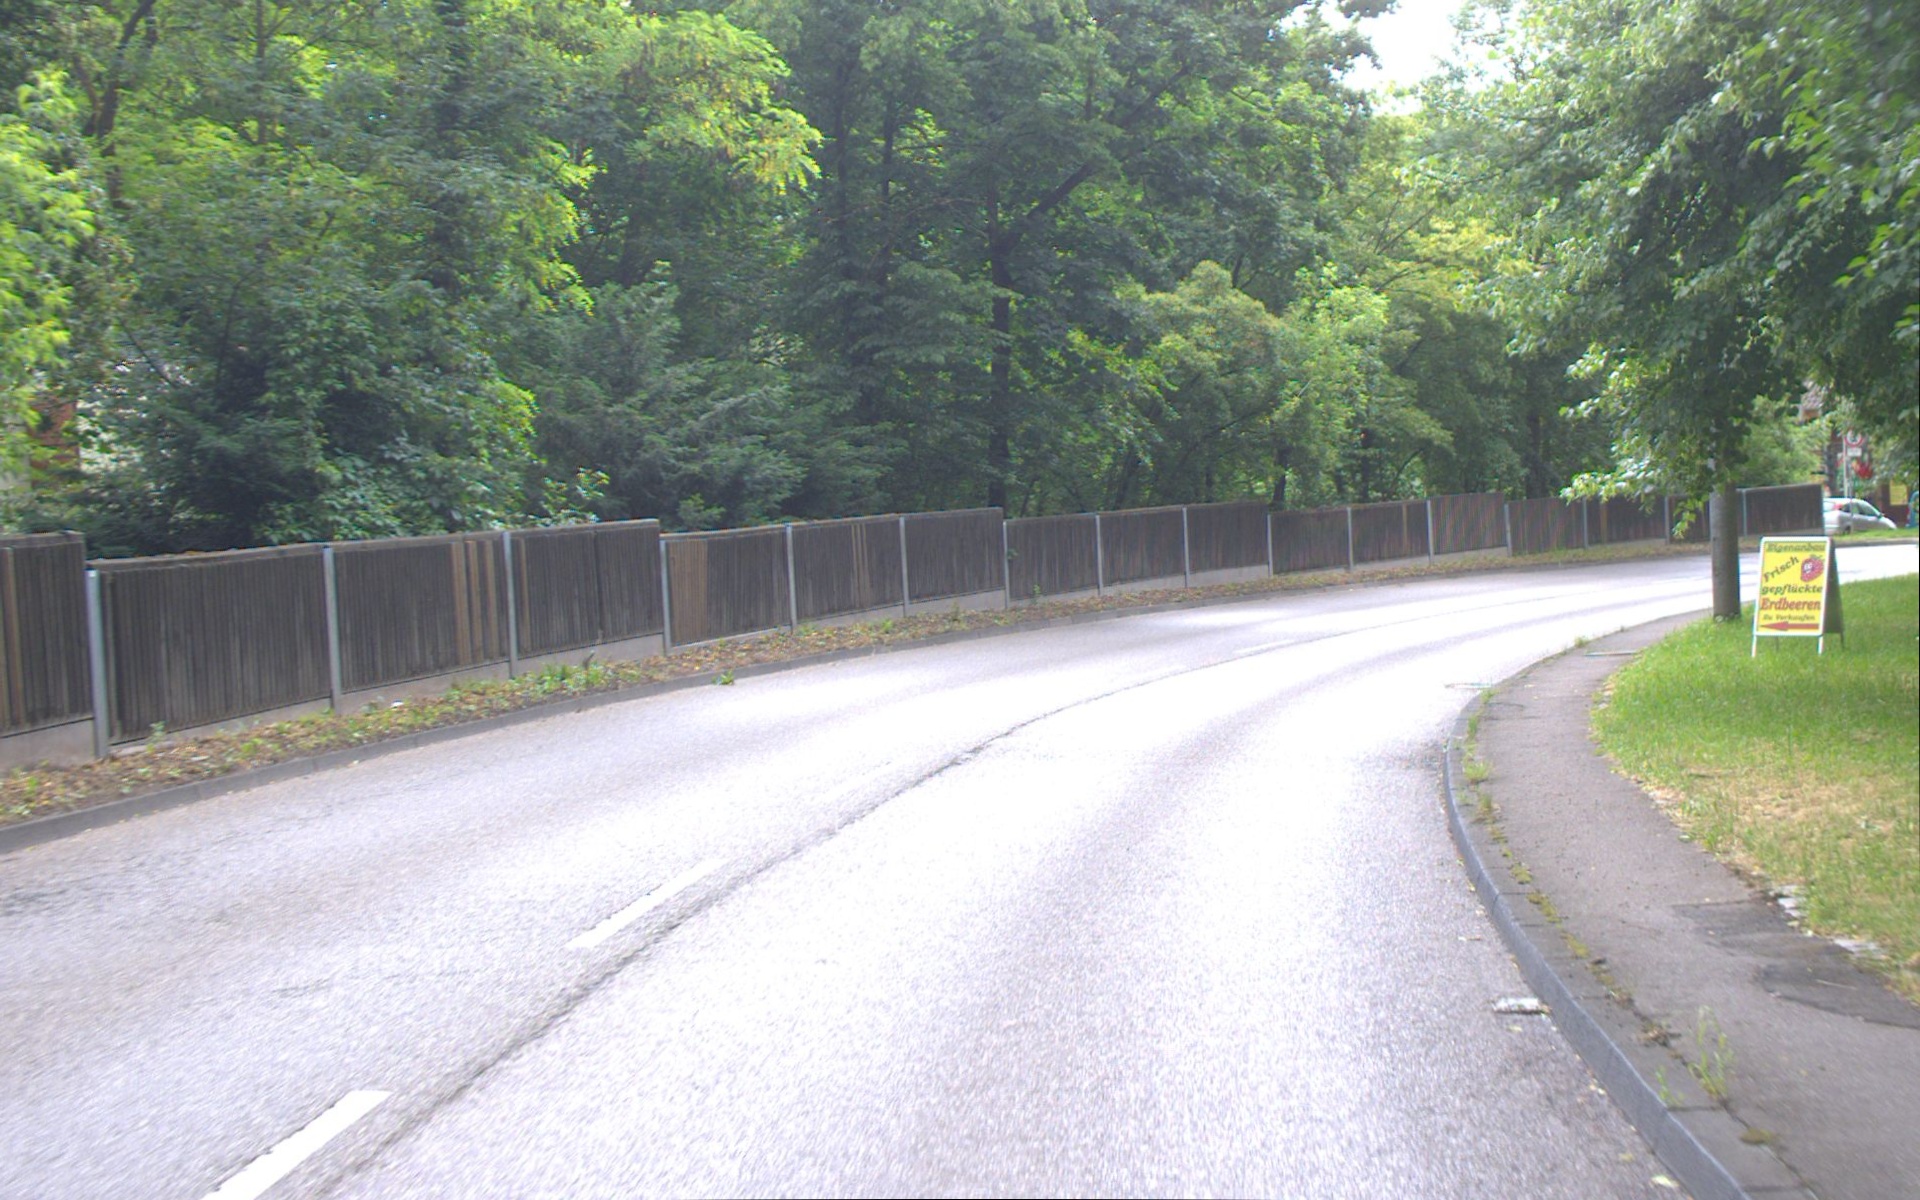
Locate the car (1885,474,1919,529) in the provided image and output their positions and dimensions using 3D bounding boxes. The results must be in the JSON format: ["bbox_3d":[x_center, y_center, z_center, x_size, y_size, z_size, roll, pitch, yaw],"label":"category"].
[{"bbox_3d":[30.651,-3.114,106.138,4.436,1.612,1.999,-4,0,-45],"label":"car"}]
